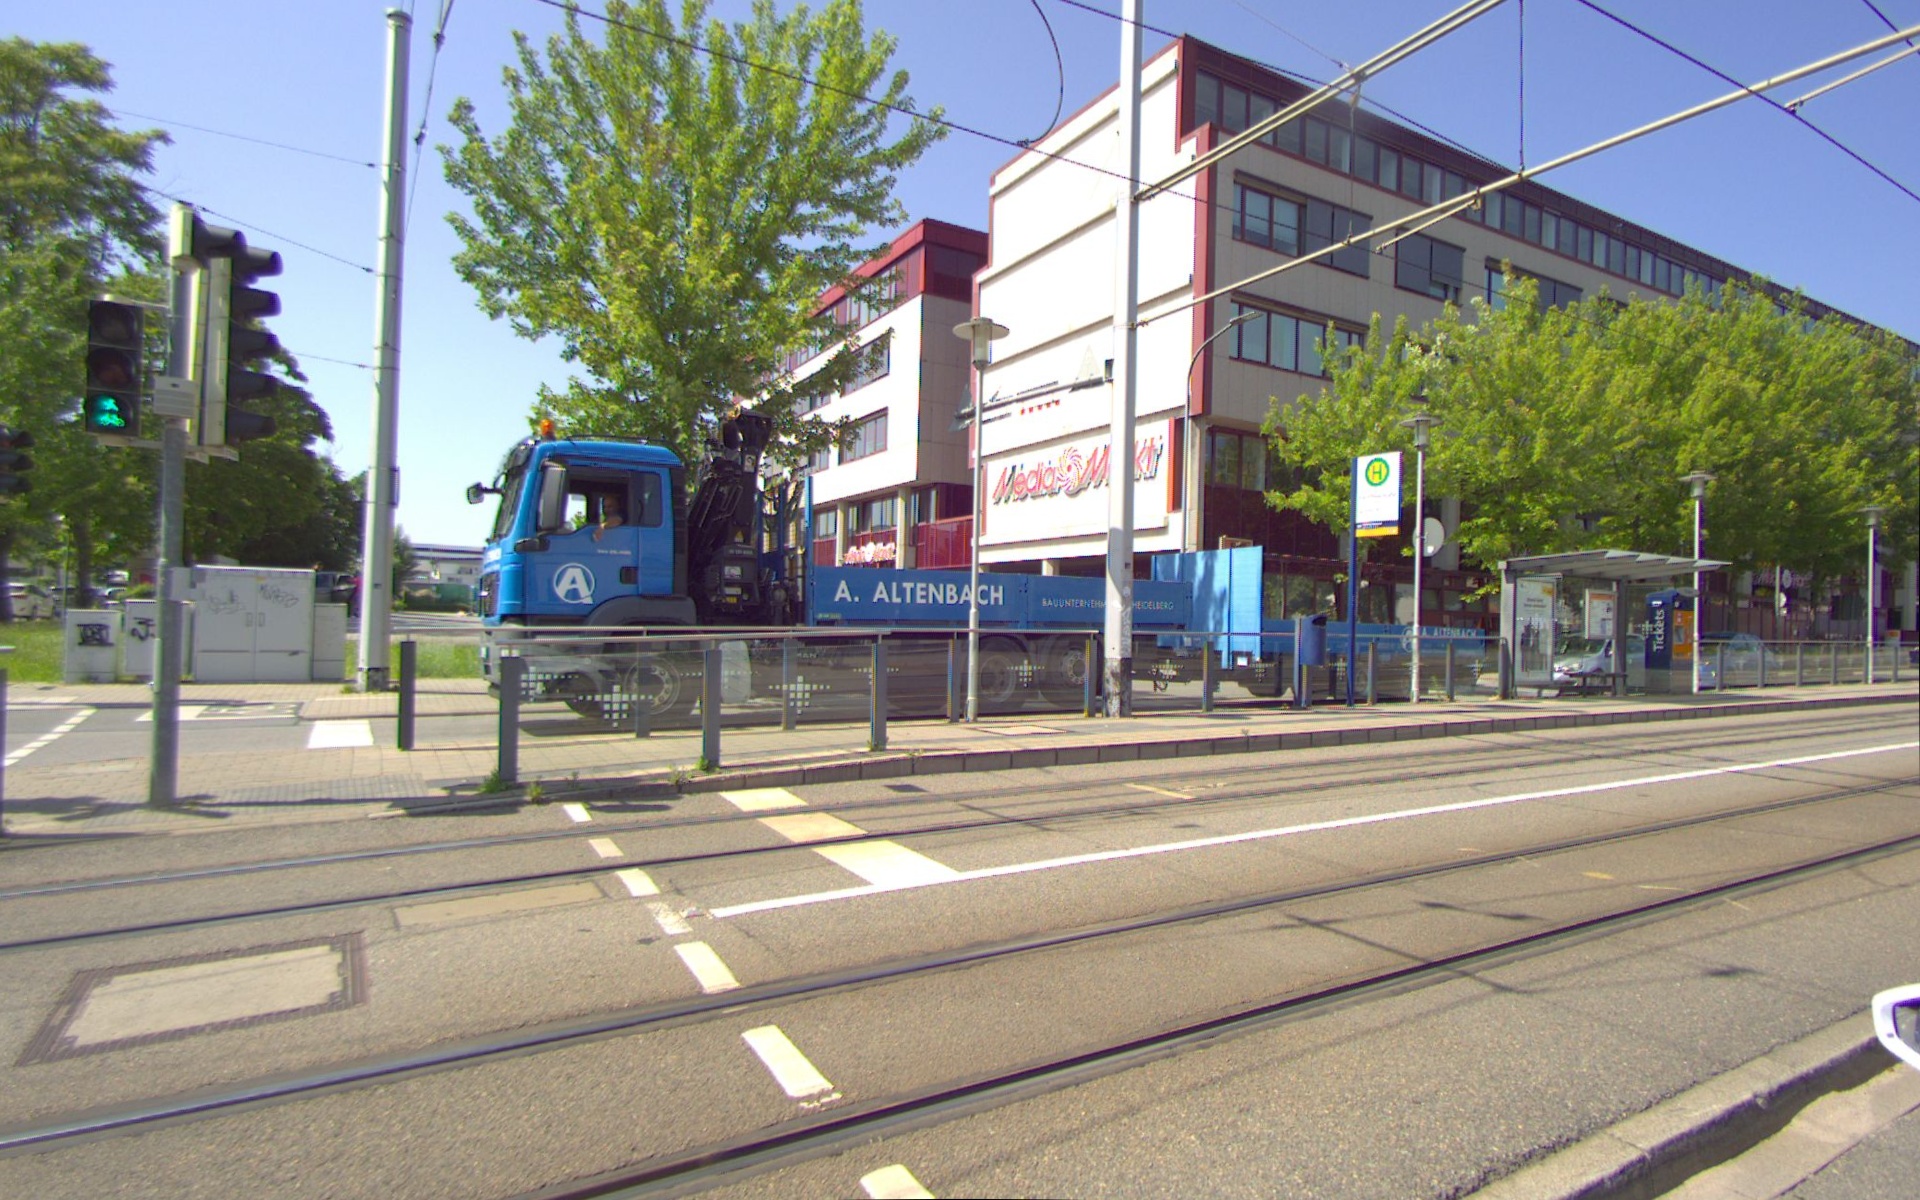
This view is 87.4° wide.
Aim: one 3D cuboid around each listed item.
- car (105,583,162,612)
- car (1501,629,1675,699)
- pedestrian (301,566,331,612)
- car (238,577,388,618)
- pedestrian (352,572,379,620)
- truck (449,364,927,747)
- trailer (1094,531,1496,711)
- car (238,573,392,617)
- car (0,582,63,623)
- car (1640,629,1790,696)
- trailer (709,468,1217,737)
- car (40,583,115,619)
[{"bbox_3d":[-45.405,-0.112,55.230,1.795,1.535,3.967,0,0,-30],"label":"car"},{"bbox_3d":[14.475,1.438,23.117,4.232,1.492,1.714,2,-3,-32],"label":"car"},{"bbox_3d":[-22.073,-0.377,34.436,0.554,1.547,0.755,1,0,-8],"label":"pedestrian"},{"bbox_3d":[-25.838,-0.102,40.335,1.818,1.513,4.810,0,0,27],"label":"car"},{"bbox_3d":[-19.690,-0.127,33.261,0.745,1.547,0.562,1,0,41],"label":"pedestrian"},{"bbox_3d":[-3.232,-0.362,12.089,4.983,3.656,2.729,1,-1,-32],"label":"truck"},{"bbox_3d":[6.204,0.406,18.085,7.518,2.663,2.781,1,-1,-33],"label":"trailer"},{"bbox_3d":[-21.218,-0.152,33.148,1.692,1.356,3.972,0,0,39],"label":"car"},{"bbox_3d":[-36.148,0.091,38.585,1.746,1.513,3.967,0,0,-30],"label":"car"},{"bbox_3d":[19.487,1.594,25.900,4.026,1.605,1.714,2,-4,-32],"label":"car"},{"bbox_3d":[0.207,0.110,14.243,6.821,3.017,2.729,1,-1,-32],"label":"trailer"},{"bbox_3d":[-39.563,0.059,45.128,1.795,1.535,3.967,0,0,-30],"label":"car"}]
